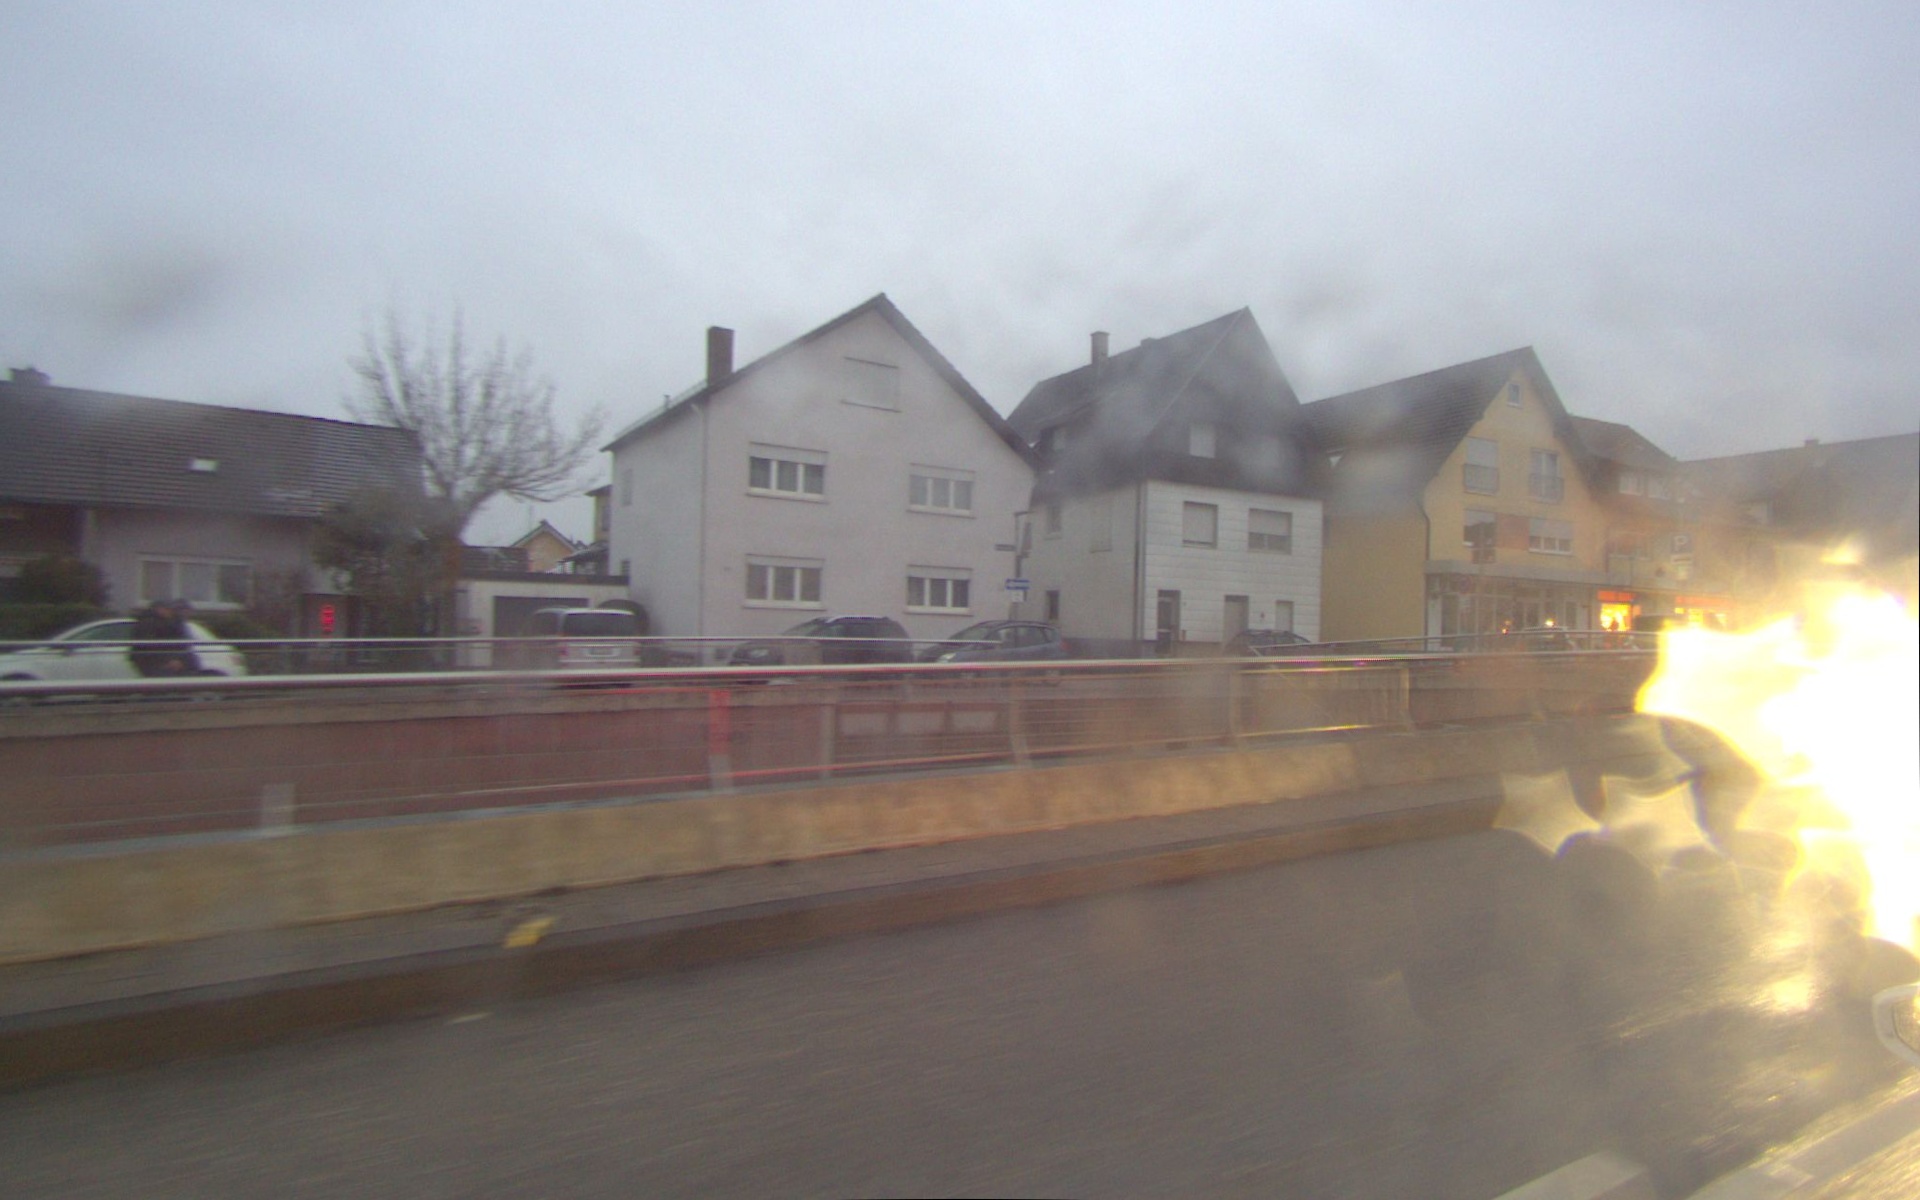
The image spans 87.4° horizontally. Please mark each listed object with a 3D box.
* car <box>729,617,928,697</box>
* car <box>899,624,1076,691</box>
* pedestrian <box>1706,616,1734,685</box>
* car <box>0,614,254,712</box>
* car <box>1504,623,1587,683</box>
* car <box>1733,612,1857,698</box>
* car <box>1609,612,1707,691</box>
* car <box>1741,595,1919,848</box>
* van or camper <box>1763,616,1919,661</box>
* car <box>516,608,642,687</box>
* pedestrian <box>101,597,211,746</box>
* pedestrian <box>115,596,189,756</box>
[{"bbox_3d":[-2.997,1.254,23.247,4.175,1.705,1.898,1,-1,-35],"label":"car"},{"bbox_3d":[0.727,1.418,25.665,4.170,1.583,1.901,1,-1,-31],"label":"car"},{"bbox_3d":[19.346,1.275,25.593,0.489,1.724,0.711,-2,-2,35],"label":"pedestrian"},{"bbox_3d":[-13.572,0.991,16.254,3.424,1.446,1.473,2,-2,-35],"label":"car"},{"bbox_3d":[17.211,1.500,29.462,1.797,1.634,4.044,0,-1,35],"label":"car"},{"bbox_3d":[20.800,1.313,25.191,2.010,1.951,4.044,0,-1,35],"label":"car"},{"bbox_3d":[18.714,1.325,26.978,2.010,1.951,4.044,0,-1,35],"label":"car"},{"bbox_3d":[7.985,0.836,7.796,3.954,1.675,1.729,1,-1,-31],"label":"car"},{"bbox_3d":[41.687,1.786,47.678,1.966,1.980,5.533,1,-1,-14],"label":"van or camper"},{"bbox_3d":[-9.107,1.105,23.839,1.846,1.716,3.960,1,-2,-36],"label":"car"},{"bbox_3d":[-10.286,0.881,12.897,0.962,1.808,0.923,1,0,-32],"label":"pedestrian"},{"bbox_3d":[-9.005,0.824,11.215,0.535,1.720,0.660,1,0,-32],"label":"pedestrian"}]
